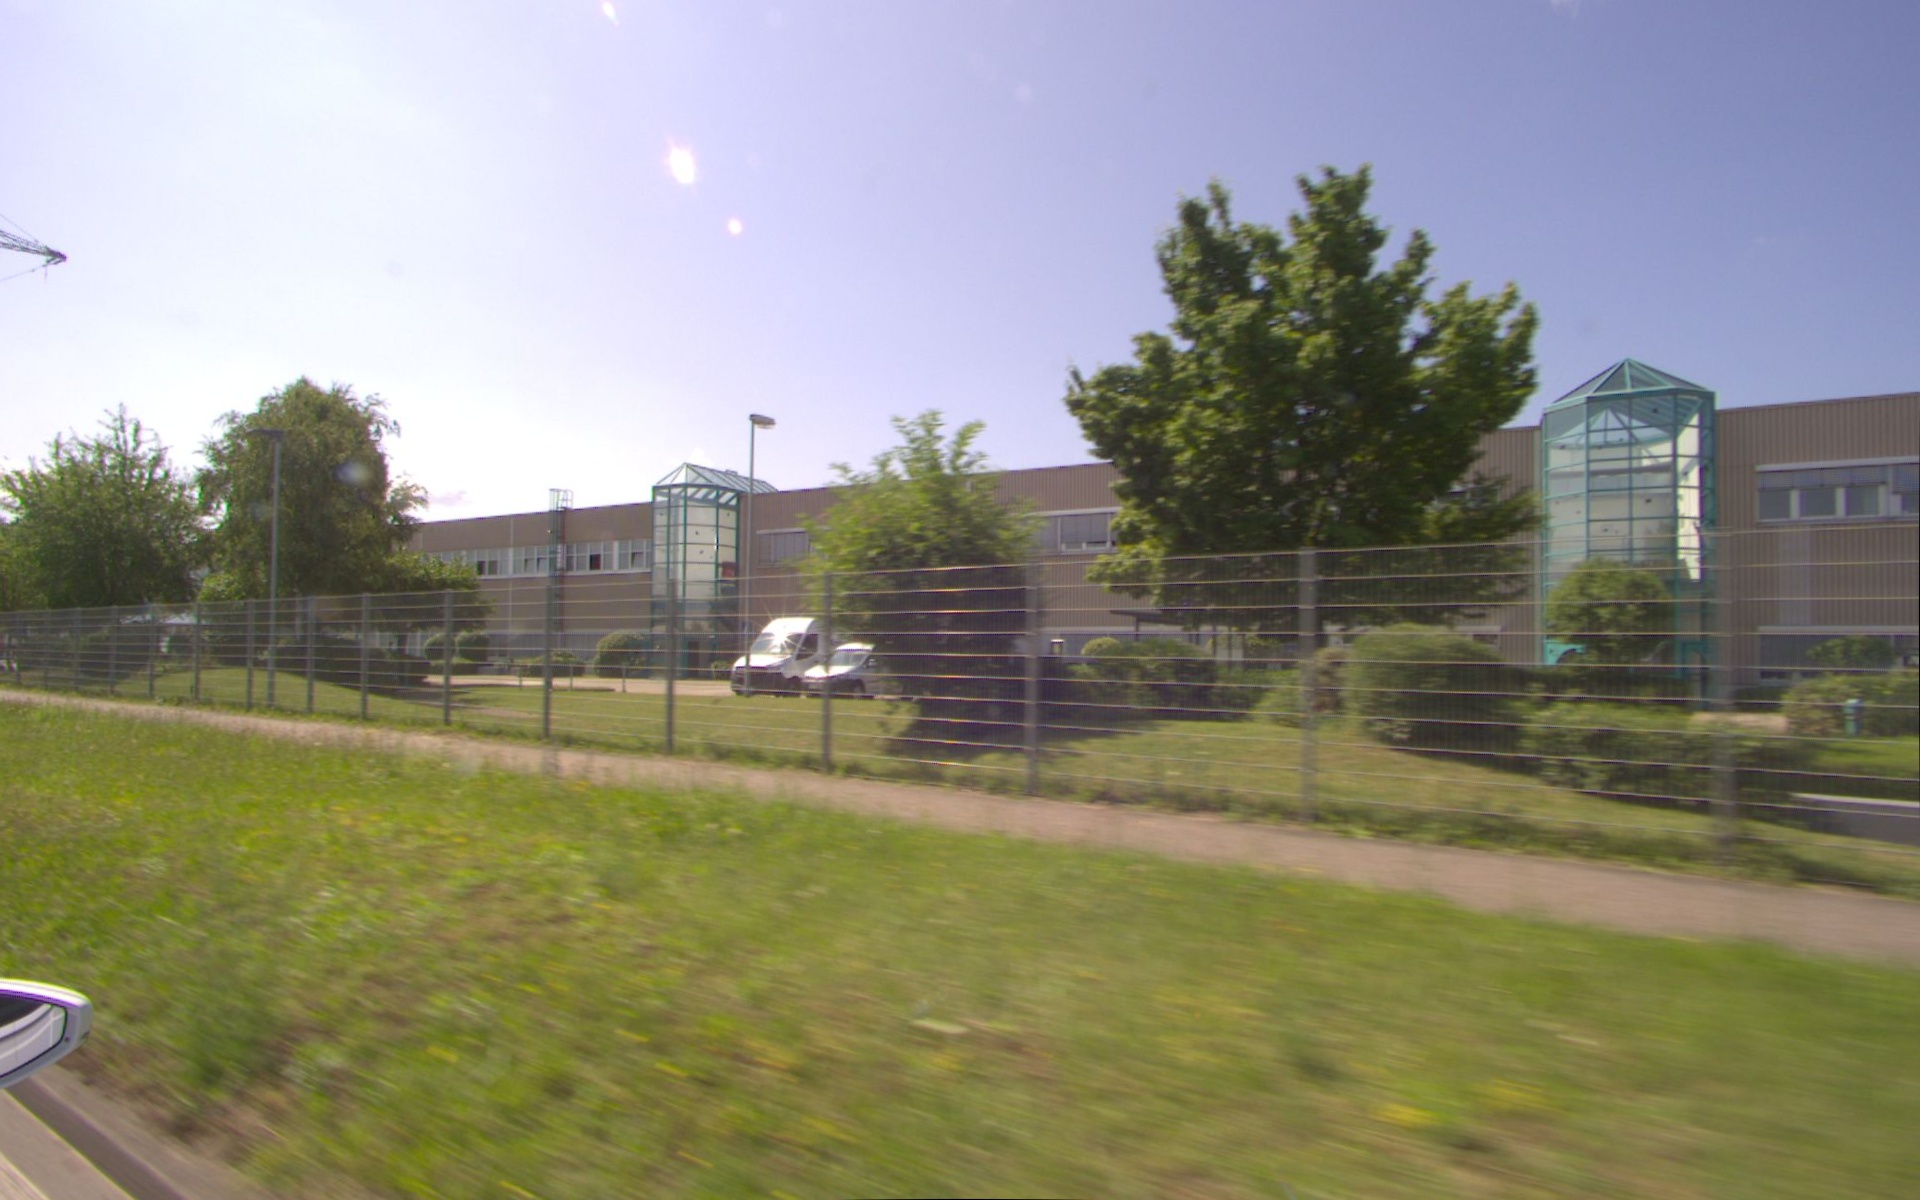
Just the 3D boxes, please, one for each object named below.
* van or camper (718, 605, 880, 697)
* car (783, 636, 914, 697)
[{"bbox_3d":[-4.927,1.715,31.755,1.969,2.547,5.778,0,-6,27],"label":"van or camper"},{"bbox_3d":[-3.231,1.970,29.732,1.969,1.660,3.988,0,-4,27],"label":"car"}]
